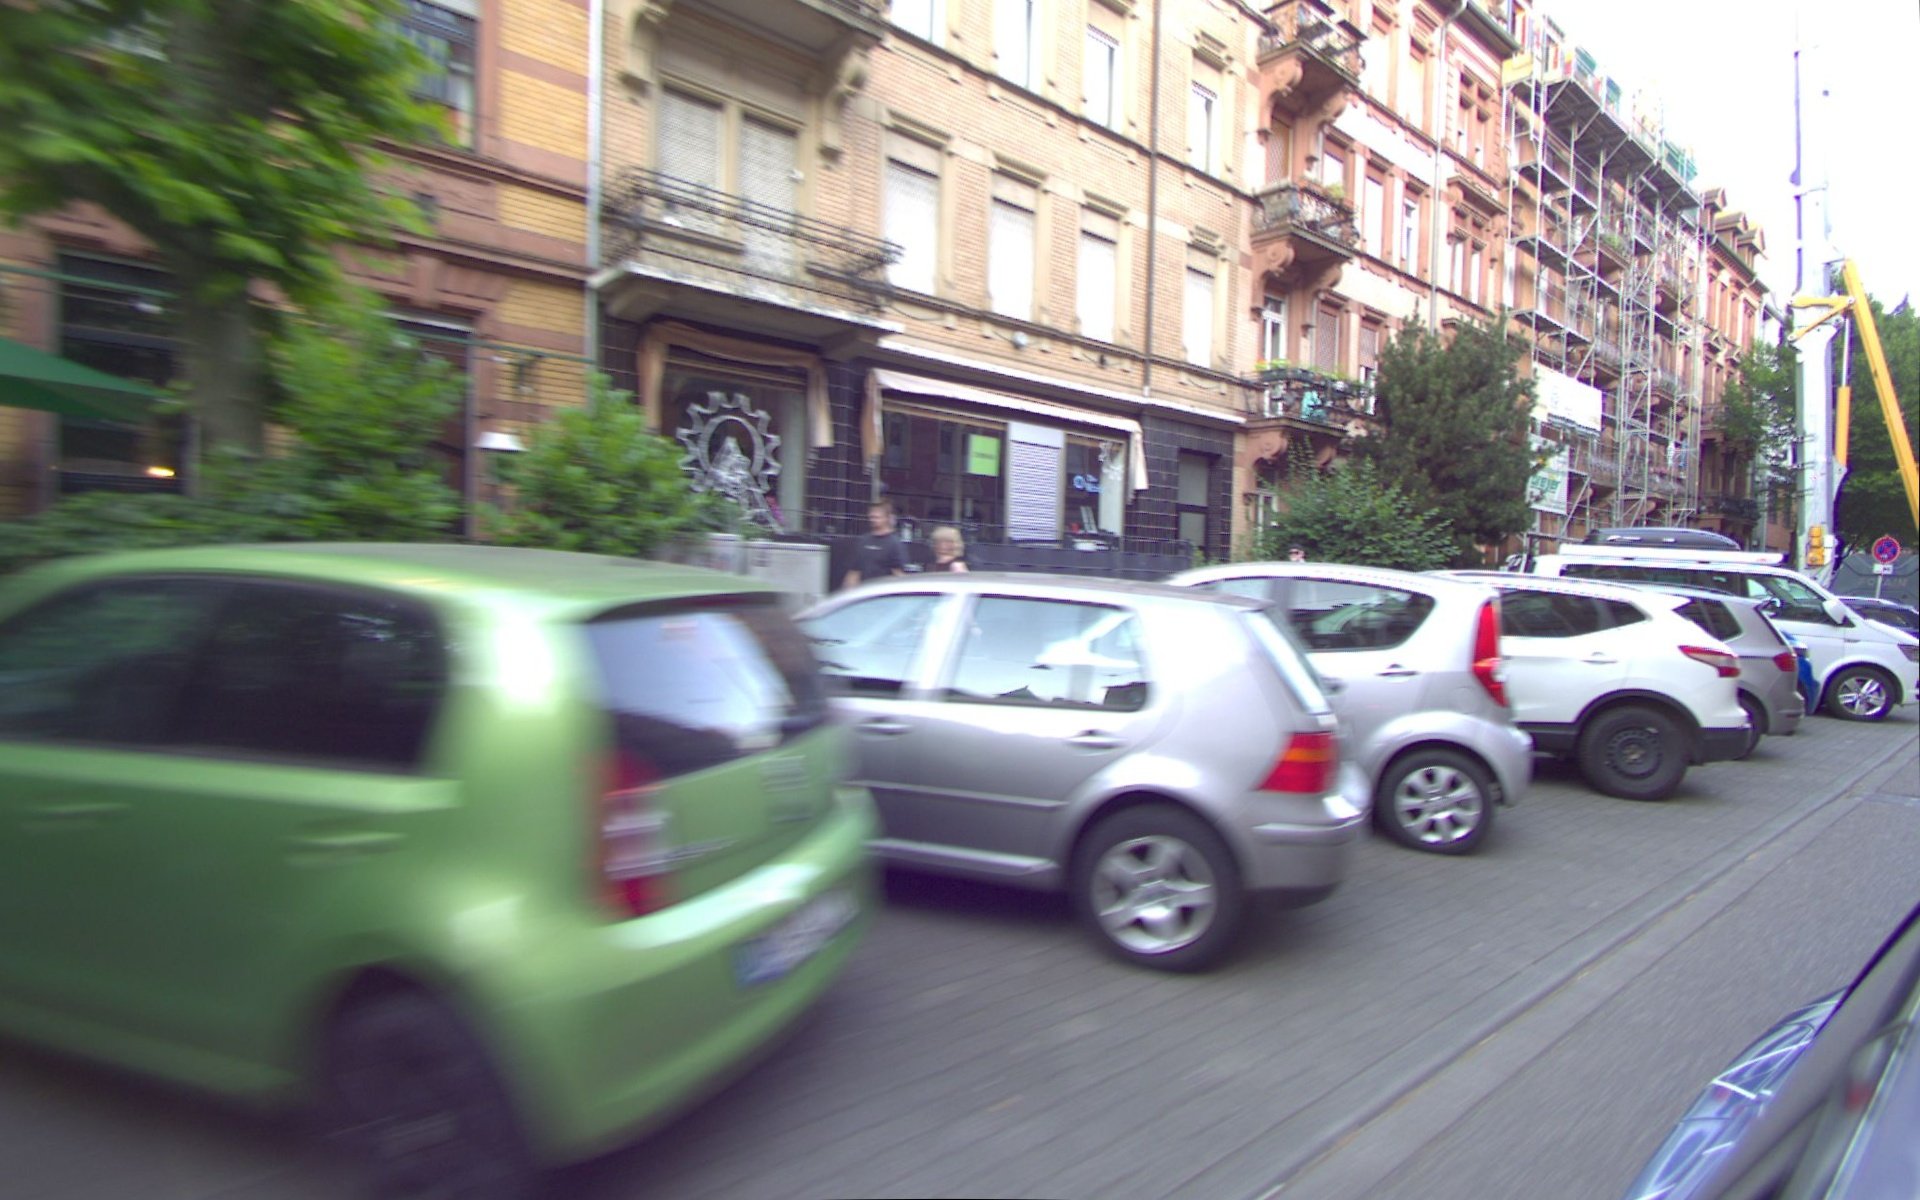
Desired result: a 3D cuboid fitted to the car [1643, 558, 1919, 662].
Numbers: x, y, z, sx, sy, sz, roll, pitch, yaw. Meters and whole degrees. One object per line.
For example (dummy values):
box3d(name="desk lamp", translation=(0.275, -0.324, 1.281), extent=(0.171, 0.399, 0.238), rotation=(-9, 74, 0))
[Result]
box3d(name="car", translation=(19.497, 0.159, 23.889), extent=(1.866, 1.979, 5.185), rotation=(2, 3, -41))

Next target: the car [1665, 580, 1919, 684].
box3d(name="car", translation=(14.647, 0.502, 17.350), extent=(3.826, 1.535, 1.833), rotation=(3, 2, 24))

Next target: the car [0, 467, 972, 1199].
box3d(name="car", translation=(-2.191, 0.429, 3.358), extent=(4.057, 1.570, 1.808), rotation=(5, 3, 19))

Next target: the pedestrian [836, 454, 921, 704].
box3d(name="pedestrian", translation=(-0.684, -0.177, 8.646), extent=(0.614, 2.039, 0.654), rotation=(0, 0, 6))

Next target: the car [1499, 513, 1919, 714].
box3d(name="car", translation=(10.358, 0.087, 13.980), extent=(4.886, 2.391, 1.984), rotation=(3, 2, 24))

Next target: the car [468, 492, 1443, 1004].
box3d(name="car", translation=(-0.072, 0.411, 4.927), extent=(4.057, 1.570, 1.808), rotation=(5, 3, 19))

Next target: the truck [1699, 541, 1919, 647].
box3d(name="truck", translation=(27.928, -0.224, 32.408), extent=(2.478, 3.115, 6.499), rotation=(0, 1, -37))

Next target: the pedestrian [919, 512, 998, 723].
box3d(name="pedestrian", translation=(0.000, 0.135, 8.515), extent=(0.614, 1.702, 0.655), rotation=(0, 0, 5))

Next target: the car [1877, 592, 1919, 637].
box3d(name="car", translation=(35.419, 0.608, 35.809), extent=(3.940, 1.506, 1.677), rotation=(4, 3, 16))

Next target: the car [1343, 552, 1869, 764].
box3d(name="car", translation=(6.237, 0.460, 10.421), extent=(4.115, 1.610, 1.874), rotation=(5, 2, 19))

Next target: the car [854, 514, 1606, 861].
box3d(name="car", translation=(1.543, 0.396, 6.650), extent=(4.047, 1.609, 1.813), rotation=(4, 3, 12))

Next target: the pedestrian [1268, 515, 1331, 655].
box3d(name="pedestrian", translation=(4.521, -0.219, 13.476), extent=(0.678, 1.770, 0.821), rotation=(3, 3, 20))

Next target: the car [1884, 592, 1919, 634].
box3d(name="car", translation=(37.605, 0.595, 37.767), extent=(4.109, 1.506, 1.824), rotation=(4, 3, 14))

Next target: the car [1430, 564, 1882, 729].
box3d(name="car", translation=(8.084, 0.449, 12.293), extent=(4.117, 1.610, 1.873), rotation=(3, 2, 22))

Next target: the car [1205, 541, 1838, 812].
box3d(name="car", translation=(4.223, 0.456, 8.358), extent=(4.058, 1.609, 1.808), rotation=(5, 3, 19))
